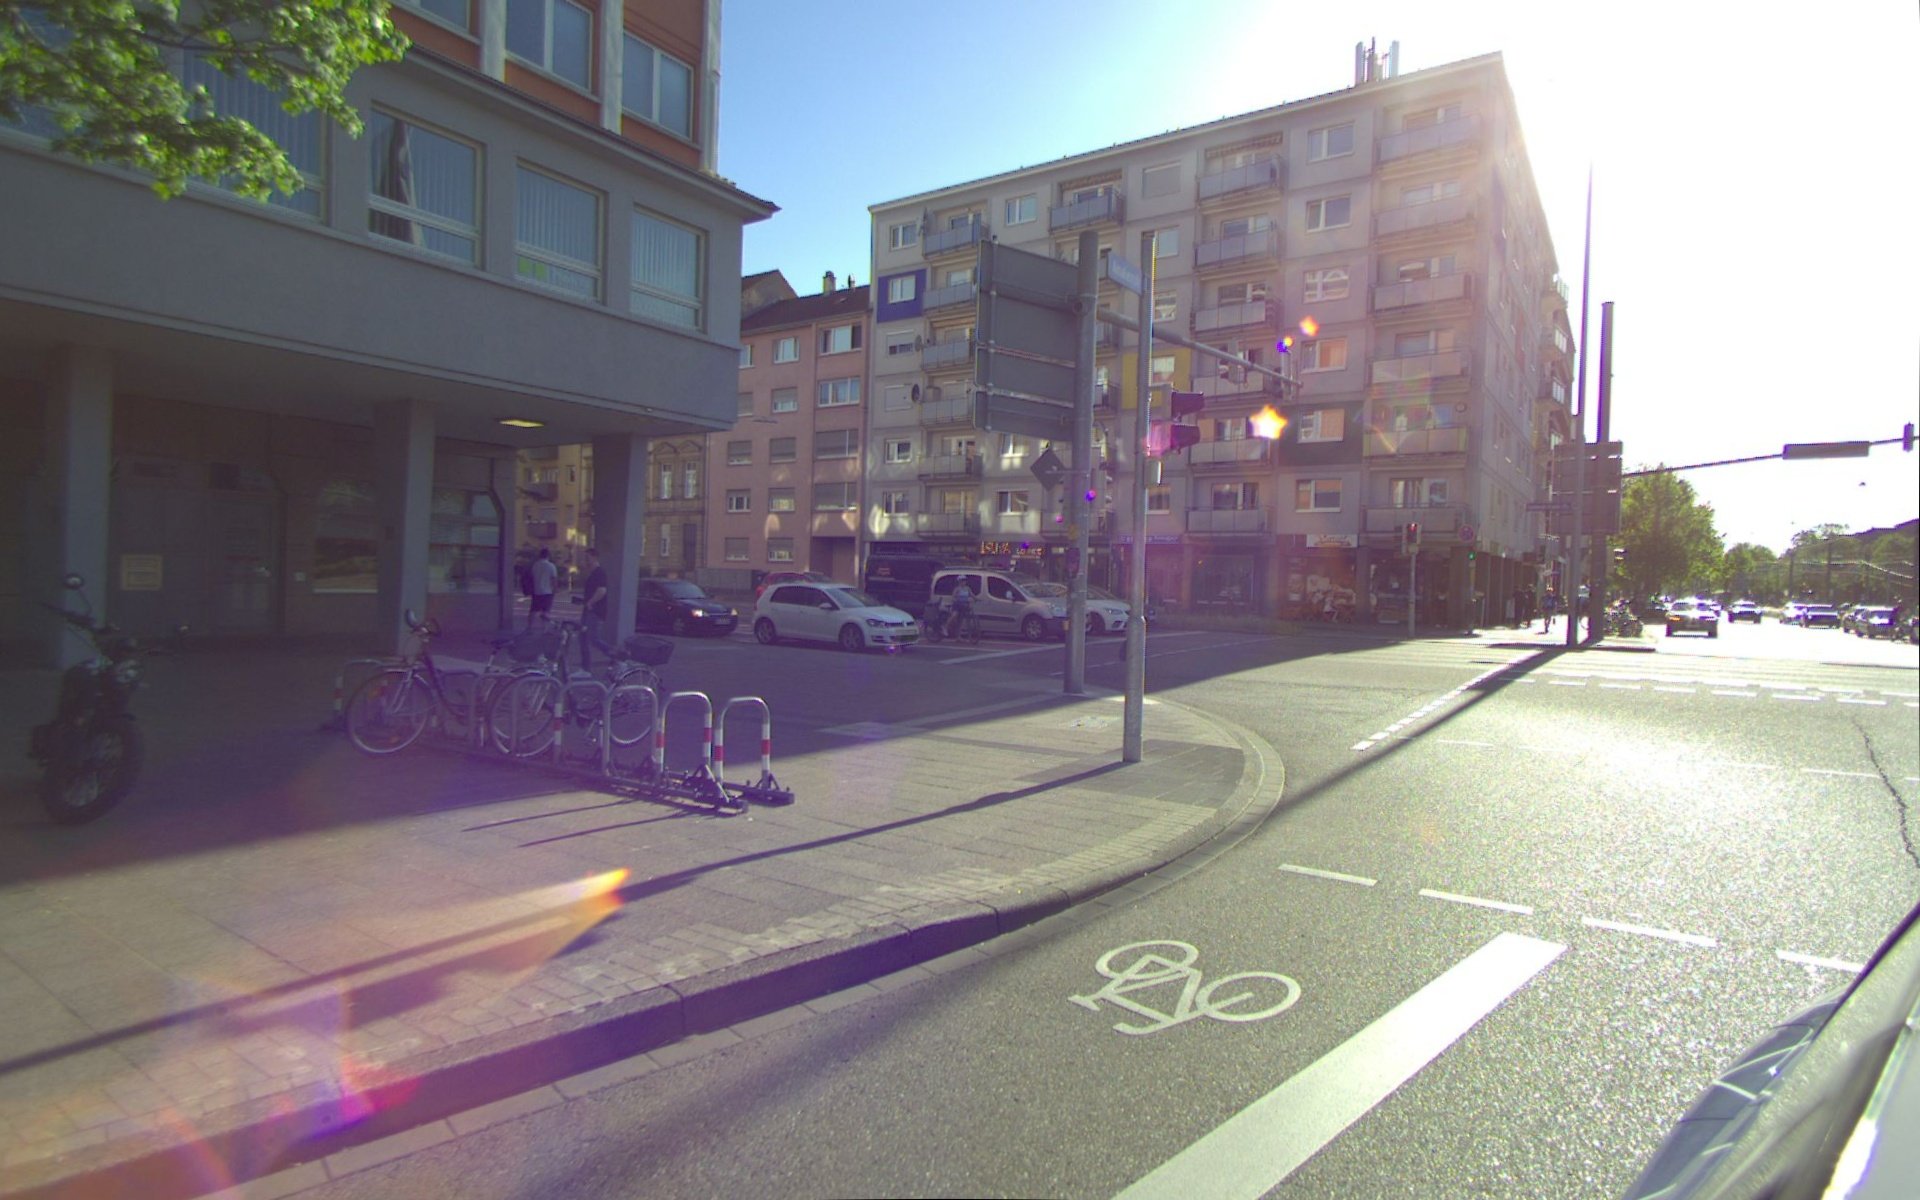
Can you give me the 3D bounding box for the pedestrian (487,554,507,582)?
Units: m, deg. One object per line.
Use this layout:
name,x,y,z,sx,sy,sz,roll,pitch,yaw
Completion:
pedestrian,-28.609,-1.977,62.474,0.766,1.694,0.841,0,0,12

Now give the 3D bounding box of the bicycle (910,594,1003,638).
bicycle,-0.093,0.361,24.135,2.133,1.013,0.851,0,1,33

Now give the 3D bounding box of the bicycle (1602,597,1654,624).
bicycle,28.058,0.448,42.555,1.812,1.073,0.410,1,3,35

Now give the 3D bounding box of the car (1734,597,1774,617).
car,58.351,0.491,74.413,1.975,1.308,4.340,2,1,34

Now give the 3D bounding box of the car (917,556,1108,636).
car,1.283,-0.127,25.842,4.571,1.873,1.923,0,1,35

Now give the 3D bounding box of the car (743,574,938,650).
car,-2.714,0.218,22.719,4.133,1.521,1.824,0,3,33

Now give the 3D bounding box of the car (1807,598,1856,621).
car,55.248,0.575,64.200,1.847,1.308,4.046,2,1,34

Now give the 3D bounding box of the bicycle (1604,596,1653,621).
bicycle,30.511,0.390,46.225,1.809,1.073,0.411,3,2,31

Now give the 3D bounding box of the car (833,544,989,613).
car,-1.767,-0.806,35.425,5.230,2.226,2.344,3,2,39

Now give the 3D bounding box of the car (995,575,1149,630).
car,3.132,0.040,28.560,3.971,1.458,1.827,0,1,34

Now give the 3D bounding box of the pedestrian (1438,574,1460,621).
pedestrian,18.915,-0.086,39.124,0.567,1.795,0.654,2,1,42

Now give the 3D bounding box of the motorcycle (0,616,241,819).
motorcycle,-5.361,0.644,6.364,2.090,1.034,0.752,1,0,36

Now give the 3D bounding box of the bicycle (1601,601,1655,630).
bicycle,25.957,0.607,39.355,1.692,1.023,0.406,3,2,32

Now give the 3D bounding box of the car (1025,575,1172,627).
car,4.184,0.004,31.019,1.942,1.487,4.150,-1,1,-45

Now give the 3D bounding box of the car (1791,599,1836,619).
car,61.068,0.597,72.480,1.975,1.308,4.274,2,1,34

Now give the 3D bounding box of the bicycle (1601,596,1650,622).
bicycle,30.177,0.395,45.921,1.809,1.073,0.411,3,2,31

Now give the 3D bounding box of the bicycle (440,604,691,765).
bicycle,-3.190,0.625,8.434,0.473,1.130,2.097,0,1,31

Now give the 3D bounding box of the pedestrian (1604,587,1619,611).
pedestrian,46.700,-0.067,72.563,0.660,1.671,0.772,0,1,-44

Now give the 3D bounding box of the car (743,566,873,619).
car,-5.108,-0.282,33.778,4.361,1.554,1.802,3,2,38

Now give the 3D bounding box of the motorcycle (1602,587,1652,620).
motorcycle,32.132,0.164,48.800,1.870,1.446,0.879,4,3,31

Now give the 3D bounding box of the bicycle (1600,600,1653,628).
bicycle,26.305,0.533,39.987,1.744,1.089,0.401,0,1,33

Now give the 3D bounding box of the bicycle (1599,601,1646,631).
bicycle,25.250,0.610,38.568,1.426,1.023,0.405,4,3,37

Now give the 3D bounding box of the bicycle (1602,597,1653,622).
bicycle,29.324,0.408,44.472,1.809,1.024,0.411,3,2,31

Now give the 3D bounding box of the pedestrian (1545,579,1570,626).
pedestrian,23.339,0.080,39.525,0.786,1.799,0.864,2,1,34

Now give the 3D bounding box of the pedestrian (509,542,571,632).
pedestrian,-8.672,-0.269,20.925,0.843,1.801,0.898,0,0,8

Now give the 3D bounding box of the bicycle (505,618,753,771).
bicycle,-2.558,0.677,8.118,0.473,0.997,2.097,0,1,31

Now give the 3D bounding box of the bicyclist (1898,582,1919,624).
bicyclist,39.957,0.128,42.458,0.698,1.751,0.845,0,1,29

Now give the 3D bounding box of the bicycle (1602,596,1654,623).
bicycle,29.020,0.402,43.972,1.809,1.082,0.411,3,3,31

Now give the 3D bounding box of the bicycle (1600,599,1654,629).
bicycle,26.551,0.548,40.320,1.743,1.113,0.395,3,2,33

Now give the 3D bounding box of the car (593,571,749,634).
car,-7.471,0.013,26.046,4.134,1.444,1.559,2,3,33

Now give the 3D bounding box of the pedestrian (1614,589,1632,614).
pedestrian,52.146,0.099,79.596,0.855,1.907,1.216,1,1,18

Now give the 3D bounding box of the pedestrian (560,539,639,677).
pedestrian,-5.119,0.099,14.348,0.874,1.867,0.829,-1,1,-33

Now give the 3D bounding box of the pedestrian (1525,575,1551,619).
pedestrian,25.586,-0.145,44.795,0.789,1.909,0.862,2,1,42

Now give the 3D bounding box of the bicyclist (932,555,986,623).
bicyclist,-0.024,-0.265,24.080,0.928,1.580,0.931,0,1,33

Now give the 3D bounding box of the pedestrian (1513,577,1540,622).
pedestrian,23.920,-0.046,42.737,0.860,1.858,1.196,2,1,34

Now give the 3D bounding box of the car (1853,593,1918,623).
car,48.333,0.387,52.914,1.880,1.447,4.082,0,1,34

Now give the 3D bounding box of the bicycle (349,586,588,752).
bicycle,-4.126,0.517,8.643,0.530,1.259,1.826,0,1,33

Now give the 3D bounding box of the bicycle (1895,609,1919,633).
bicycle,39.968,0.861,42.479,0.625,0.951,1.887,0,1,29

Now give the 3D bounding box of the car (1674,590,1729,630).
car,34.203,0.433,46.759,1.891,1.708,4.066,2,1,35

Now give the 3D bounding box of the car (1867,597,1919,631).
car,43.489,0.624,46.611,1.986,1.447,4.083,0,1,34
